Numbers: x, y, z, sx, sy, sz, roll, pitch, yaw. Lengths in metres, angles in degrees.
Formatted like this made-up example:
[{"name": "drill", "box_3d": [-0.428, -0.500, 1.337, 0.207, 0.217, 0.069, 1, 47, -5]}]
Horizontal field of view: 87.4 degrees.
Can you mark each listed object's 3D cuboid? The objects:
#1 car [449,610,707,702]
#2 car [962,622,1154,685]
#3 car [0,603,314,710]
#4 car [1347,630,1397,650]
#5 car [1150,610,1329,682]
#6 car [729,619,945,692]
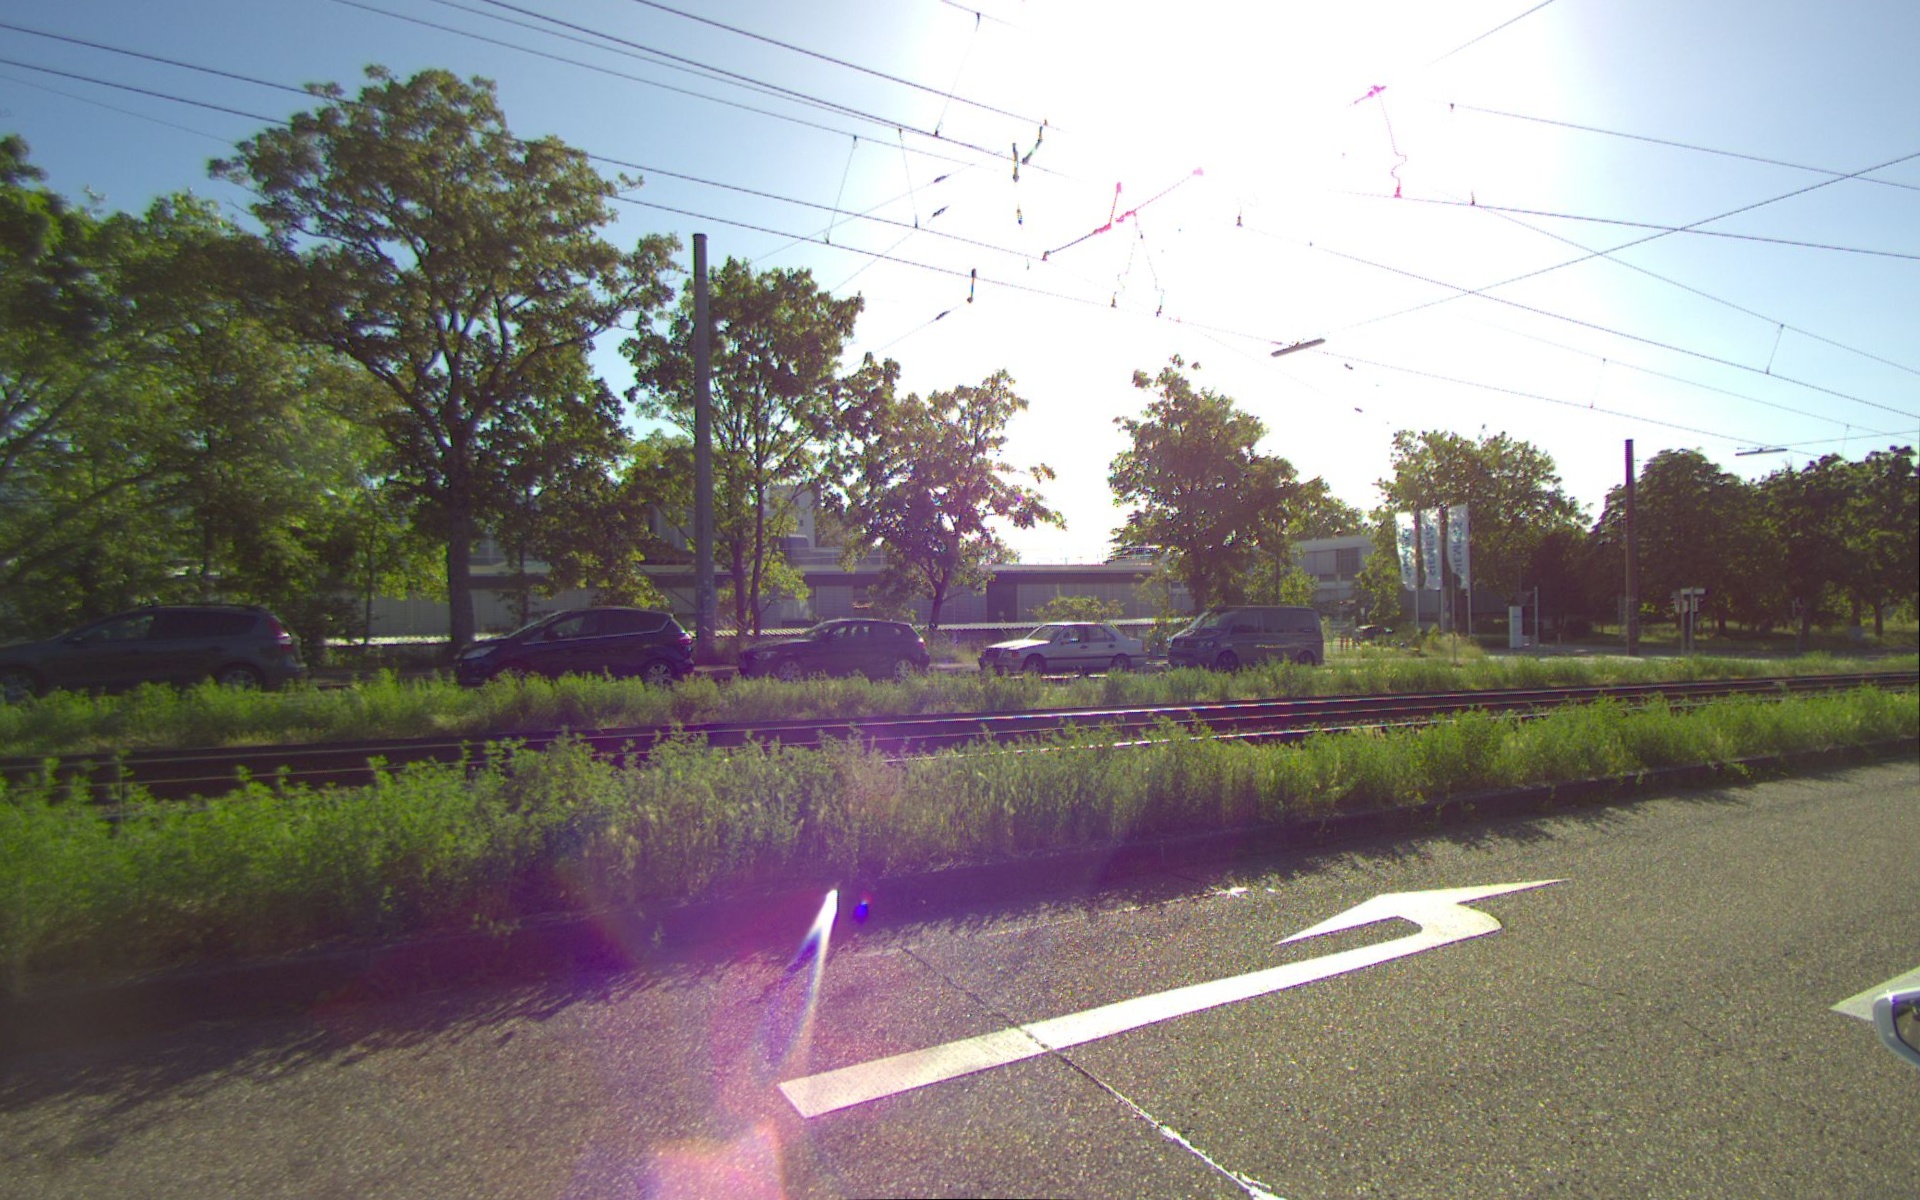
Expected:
[{"name": "car", "box_3d": [-7.354, 1.006, 19.437, 4.385, 1.595, 1.983, 1, -1, -32]}, {"name": "car", "box_3d": [2.514, 1.303, 25.494, 4.639, 1.457, 1.919, 1, -1, -30]}, {"name": "car", "box_3d": [-12.989, 0.861, 16.172, 4.280, 1.514, 1.725, 1, 0, -32]}, {"name": "car", "box_3d": [32.455, 3.144, 79.136, 3.817, 1.508, 1.683, 1, -1, -31]}, {"name": "car", "box_3d": [7.979, 1.249, 28.619, 4.731, 1.916, 2.188, 1, -1, -28]}, {"name": "car", "box_3d": [-2.696, 1.160, 22.276, 4.362, 1.457, 1.984, 1, -1, -30]}]
